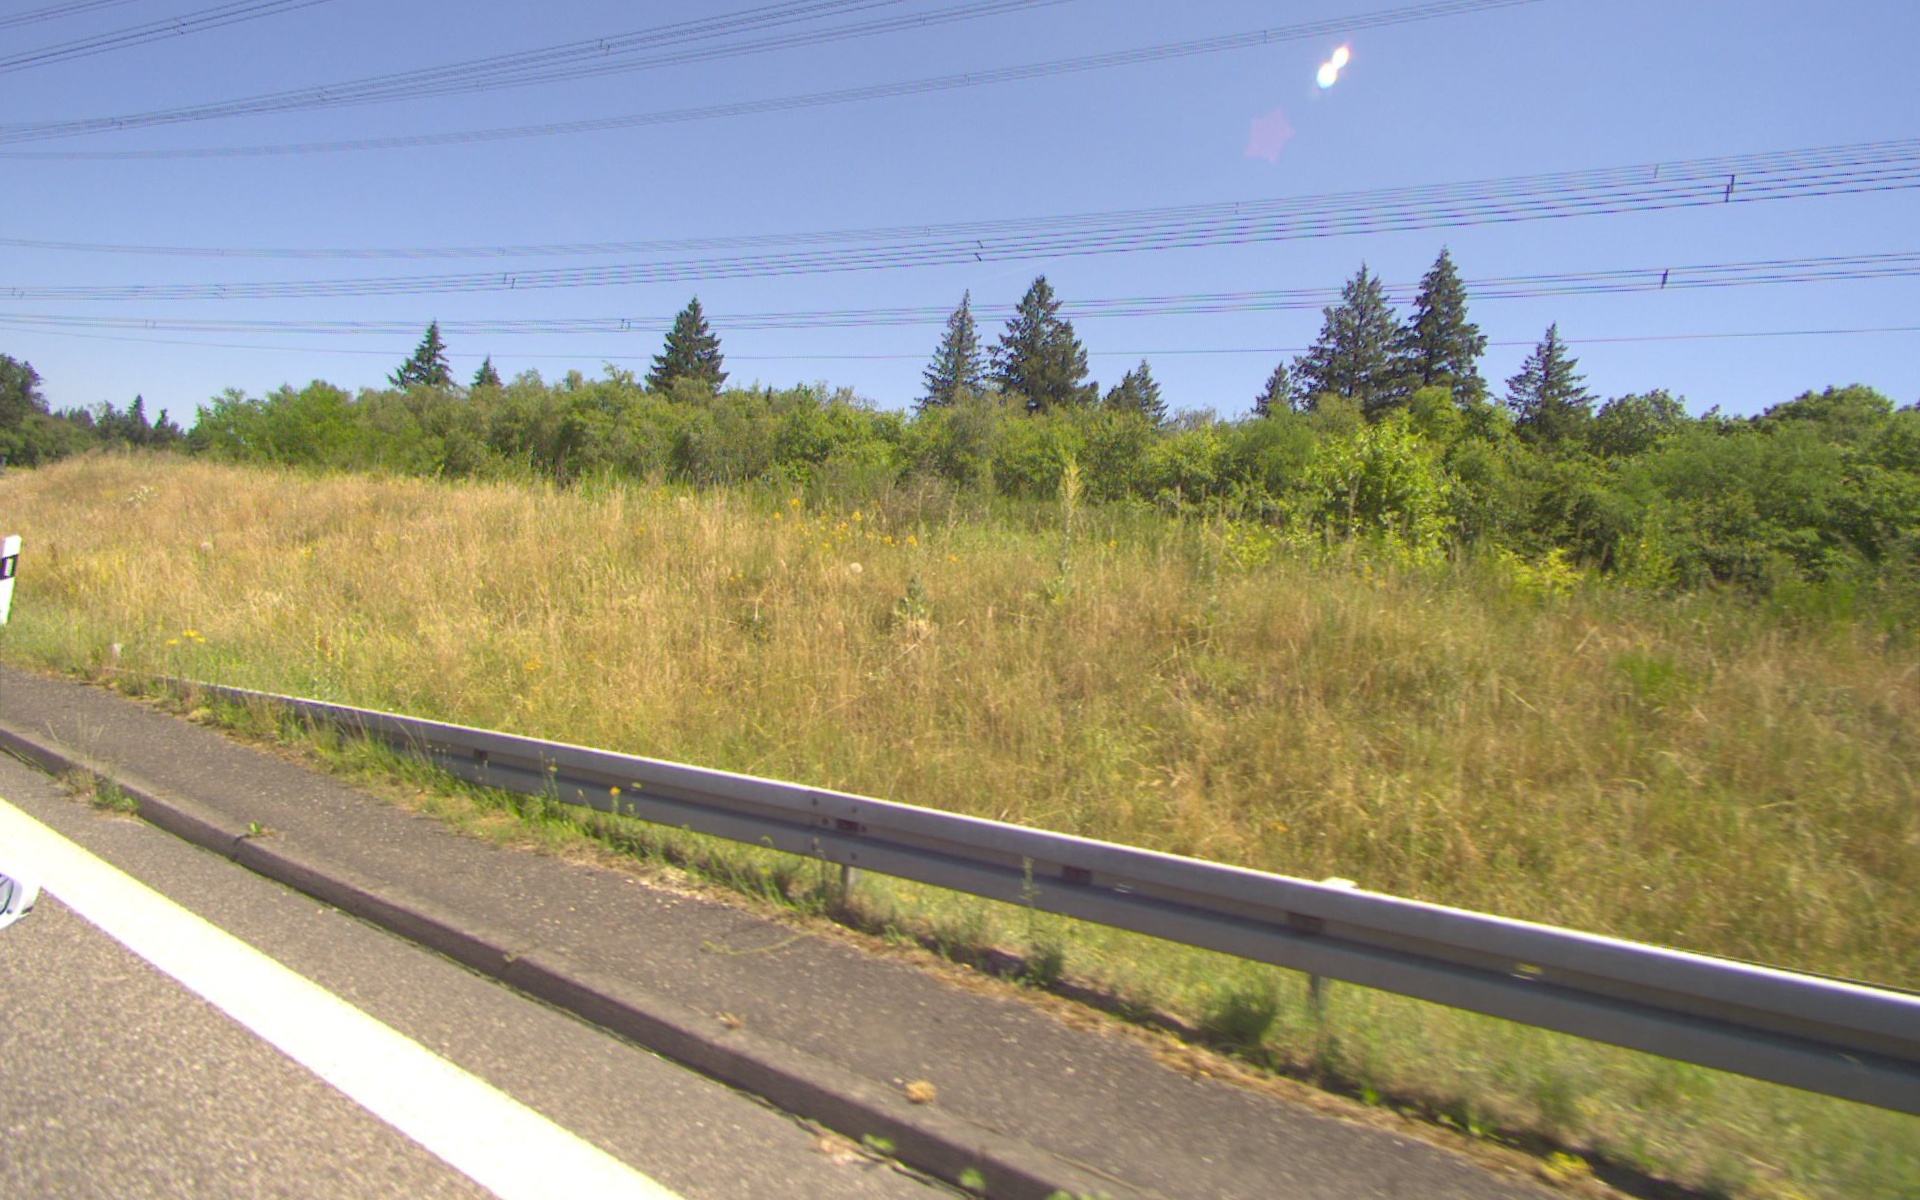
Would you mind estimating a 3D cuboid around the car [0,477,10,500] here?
[{"bbox_3d":[-73.308,-8.505,75.637,1.867,1.706,3.966,5,2,-31],"label":"car"}]
